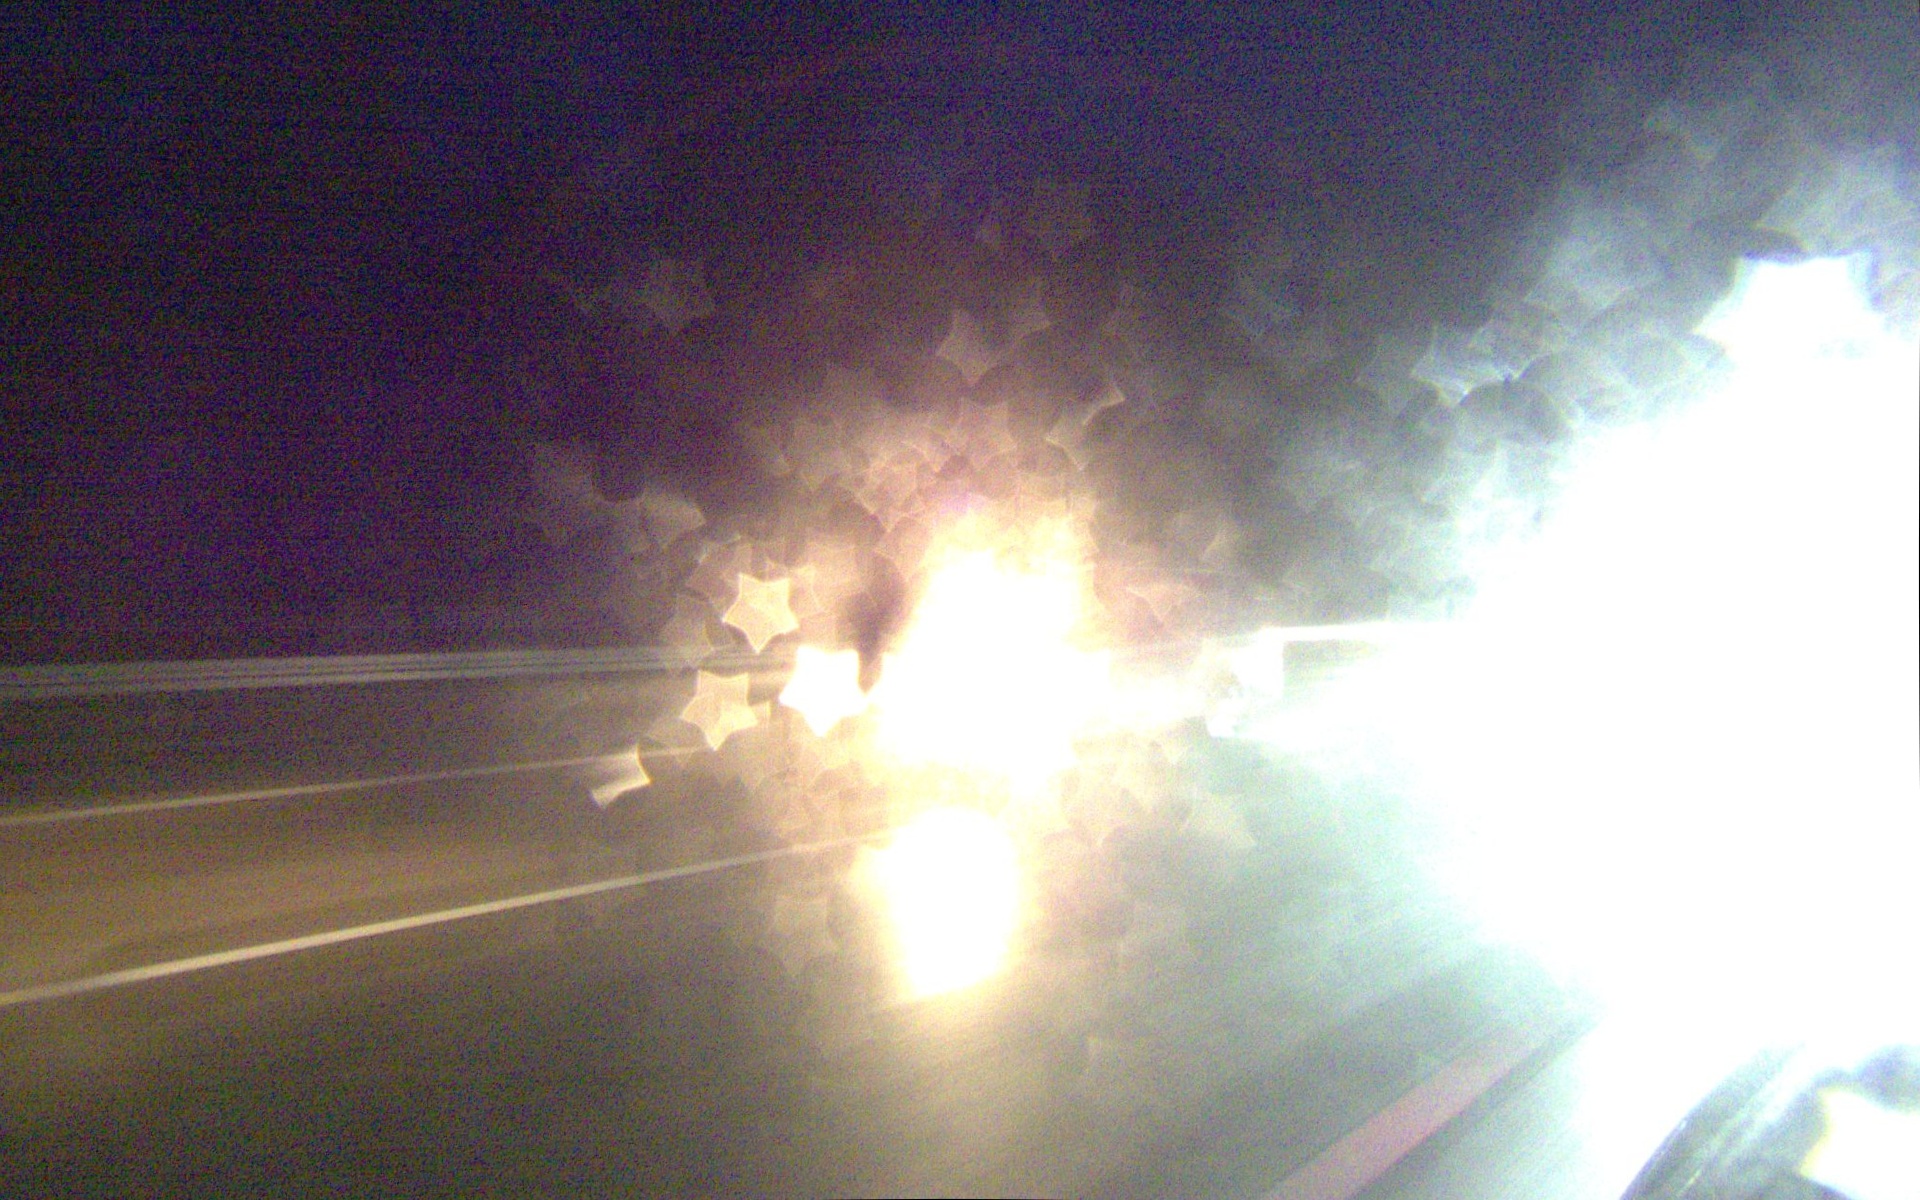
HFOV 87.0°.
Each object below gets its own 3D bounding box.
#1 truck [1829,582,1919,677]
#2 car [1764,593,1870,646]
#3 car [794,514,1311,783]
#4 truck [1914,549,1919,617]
[{"bbox_3d":[18.865,0.507,20.019,4.769,1.717,1.847,-1,0,-41],"label":"truck"},{"bbox_3d":[26.562,0.573,31.299,5.272,1.498,1.746,0,0,-41],"label":"car"},{"bbox_3d":[1.175,0.361,10.076,5.312,1.999,2.049,0,0,-41],"label":"car"},{"bbox_3d":[62.279,-1.076,63.342,6.888,4.155,2.865,0,0,-40],"label":"truck"}]
